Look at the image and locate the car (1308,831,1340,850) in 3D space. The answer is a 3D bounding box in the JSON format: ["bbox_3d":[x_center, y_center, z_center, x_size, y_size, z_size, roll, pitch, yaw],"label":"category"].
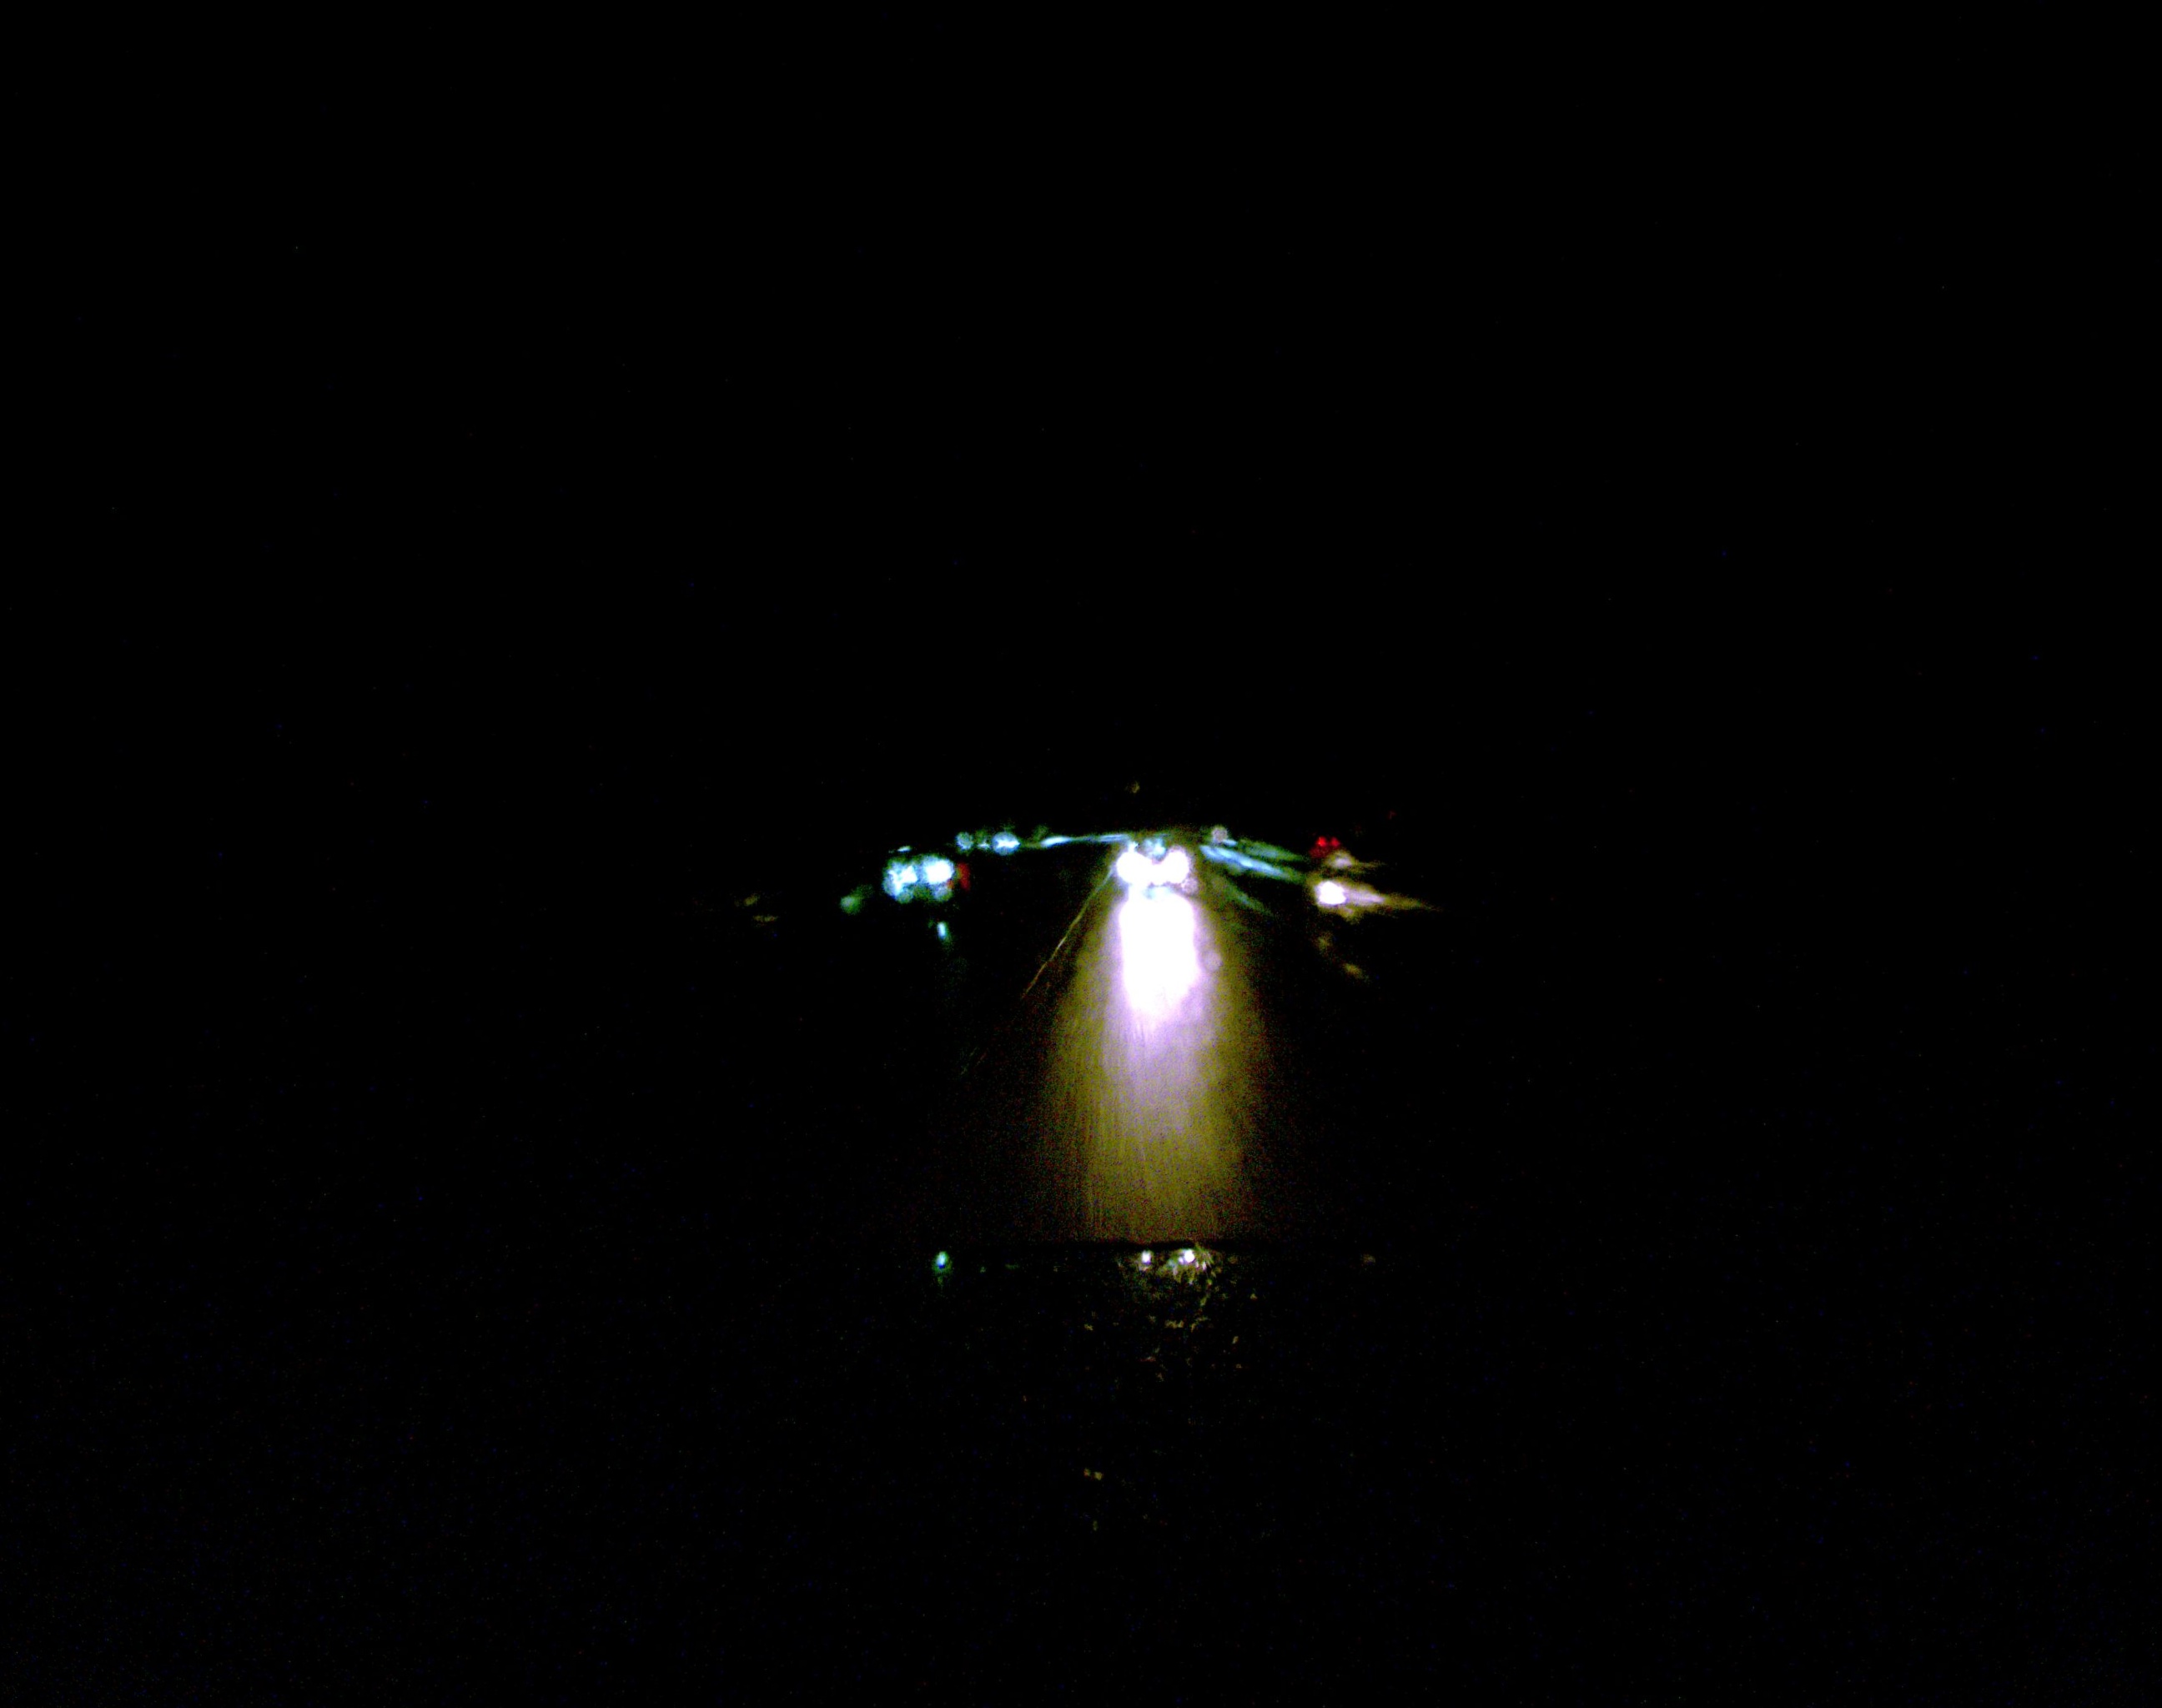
[{"bbox_3d":[23.625,-1.338,73.920,1.763,1.483,4.041,-2,5,0],"label":"car"}]

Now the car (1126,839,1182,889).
[{"bbox_3d":[2.407,0.267,25.091,1.686,1.443,3.642,-1,2,5],"label":"car"}]

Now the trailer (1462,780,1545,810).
[{"bbox_3d":[80.473,-11.231,145.080,13.676,4.314,2.542,-4,4,28],"label":"trailer"}]

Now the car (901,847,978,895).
[{"bbox_3d":[-6.090,0.670,33.163,1.739,1.674,4.122,-6,2,11],"label":"car"}]

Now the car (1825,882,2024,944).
[{"bbox_3d":[28.034,1.898,25.475,1.746,1.418,4.092,-4,4,-14],"label":"car"}]
